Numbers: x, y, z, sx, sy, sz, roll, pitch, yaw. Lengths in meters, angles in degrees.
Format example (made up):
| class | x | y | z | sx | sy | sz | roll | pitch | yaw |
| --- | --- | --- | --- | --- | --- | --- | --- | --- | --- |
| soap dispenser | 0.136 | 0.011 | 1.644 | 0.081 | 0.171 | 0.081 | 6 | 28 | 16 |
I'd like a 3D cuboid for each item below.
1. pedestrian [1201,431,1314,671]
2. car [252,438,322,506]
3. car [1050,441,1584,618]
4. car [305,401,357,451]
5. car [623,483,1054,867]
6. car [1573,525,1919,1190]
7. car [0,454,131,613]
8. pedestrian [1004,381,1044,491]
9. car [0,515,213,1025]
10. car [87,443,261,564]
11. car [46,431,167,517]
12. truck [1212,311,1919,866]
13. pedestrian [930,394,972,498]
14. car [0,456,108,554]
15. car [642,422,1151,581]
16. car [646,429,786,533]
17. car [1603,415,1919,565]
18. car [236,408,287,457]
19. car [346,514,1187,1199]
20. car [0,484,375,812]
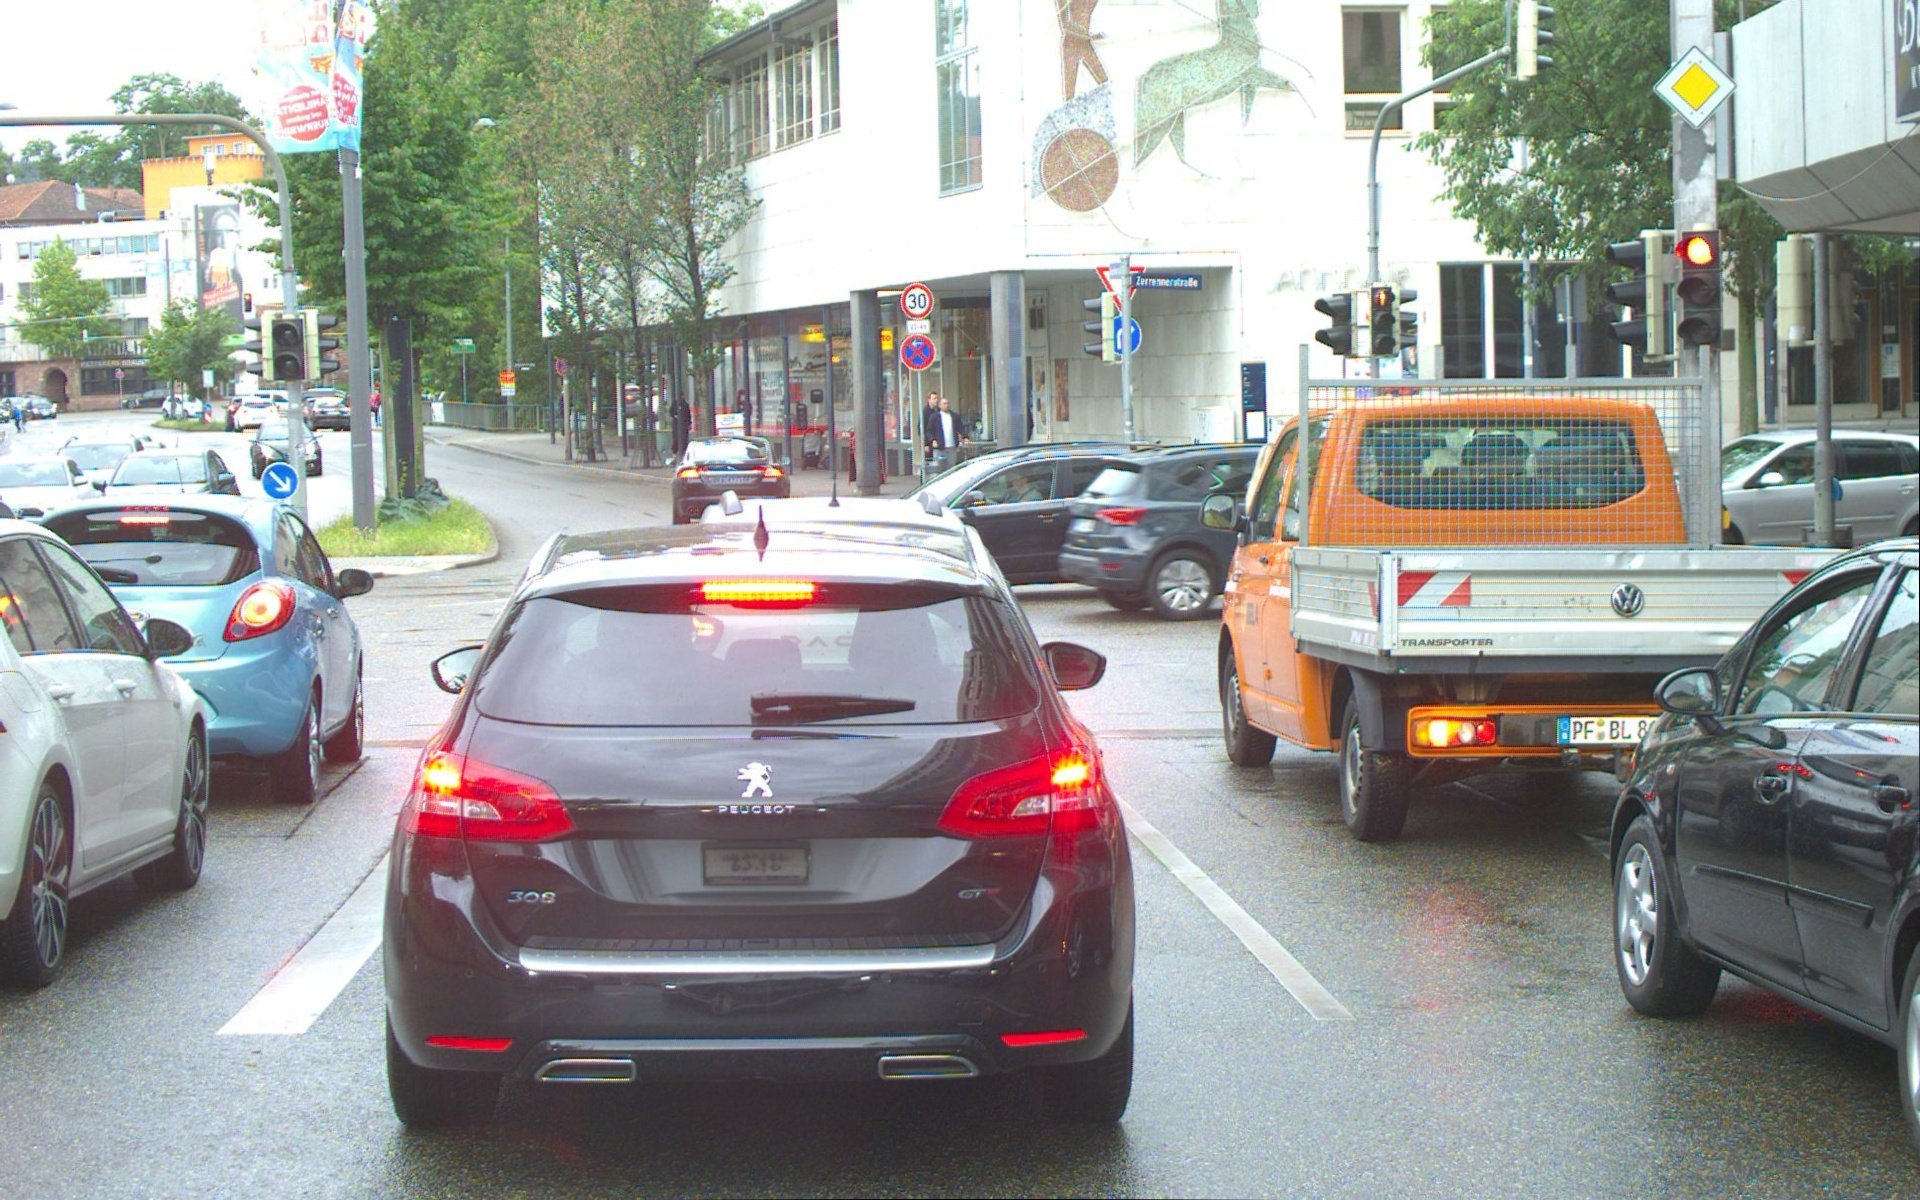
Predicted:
| class | x | y | z | sx | sy | sz | roll | pitch | yaw |
| --- | --- | --- | --- | --- | --- | --- | --- | --- | --- |
| pedestrian | 2.107 | -0.345 | 24.410 | 0.748 | 1.674 | 0.709 | 0 | 0 | 2 |
| car | -17.702 | -3.343 | 90.504 | 1.744 | 1.634 | 4.001 | 1 | 0 | -11 |
| car | 3.204 | -0.666 | 31.170 | 4.490 | 1.449 | 1.794 | -1 | 3 | -9 |
| car | -26.932 | -7.422 | 147.168 | 1.705 | 1.929 | 4.001 | 1 | 0 | -18 |
| car | -0.508 | 0.234 | 15.517 | 1.696 | 1.481 | 3.794 | 1 | 2 | -1 |
| car | 2.844 | 0.547 | 8.849 | 1.616 | 1.424 | 3.843 | 0 | 2 | -3 |
| car | -10.541 | -0.571 | 33.439 | 4.491 | 1.449 | 1.794 | -4 | 4 | -23 |
| pedestrian | 1.121 | -2.871 | 60.249 | 0.637 | 1.891 | 0.733 | 0 | 0 | 6 |
| car | -3.742 | 0.438 | 11.667 | 1.777 | 1.424 | 3.843 | 0 | 2 | -3 |
| car | -10.936 | -1.311 | 48.039 | 1.744 | 1.574 | 4.000 | 1 | 0 | -4 |
| car | -15.193 | -2.254 | 61.332 | 1.632 | 1.481 | 3.611 | 0 | 2 | -7 |
| truck | 2.569 | -0.143 | 16.025 | 2.177 | 2.165 | 5.021 | 1 | 2 | -3 |
| pedestrian | -0.153 | -2.651 | 59.294 | 0.637 | 1.752 | 0.733 | 0 | 0 | 6 |
| car | -14.603 | -1.529 | 54.616 | 1.632 | 1.481 | 3.611 | 0 | 2 | -7 |
| car | -0.639 | -0.962 | 33.594 | 4.721 | 1.481 | 1.639 | 0 | 2 | -14 |
| car | -3.959 | -1.874 | 55.181 | 1.724 | 1.485 | 4.734 | 1 | 0 | -10 |
| car | 8.903 | -1.127 | 36.090 | 3.894 | 1.481 | 1.624 | 0 | 0 | -12 |
| car | -29.713 | -7.118 | 146.197 | 1.705 | 1.875 | 4.001 | 1 | 0 | -18 |
| car | -0.492 | 0.503 | 9.230 | 1.777 | 1.424 | 3.843 | 0 | 2 | -2 |
| car | -3.977 | 0.166 | 17.711 | 1.632 | 1.481 | 3.610 | 0 | 2 | -5 |
